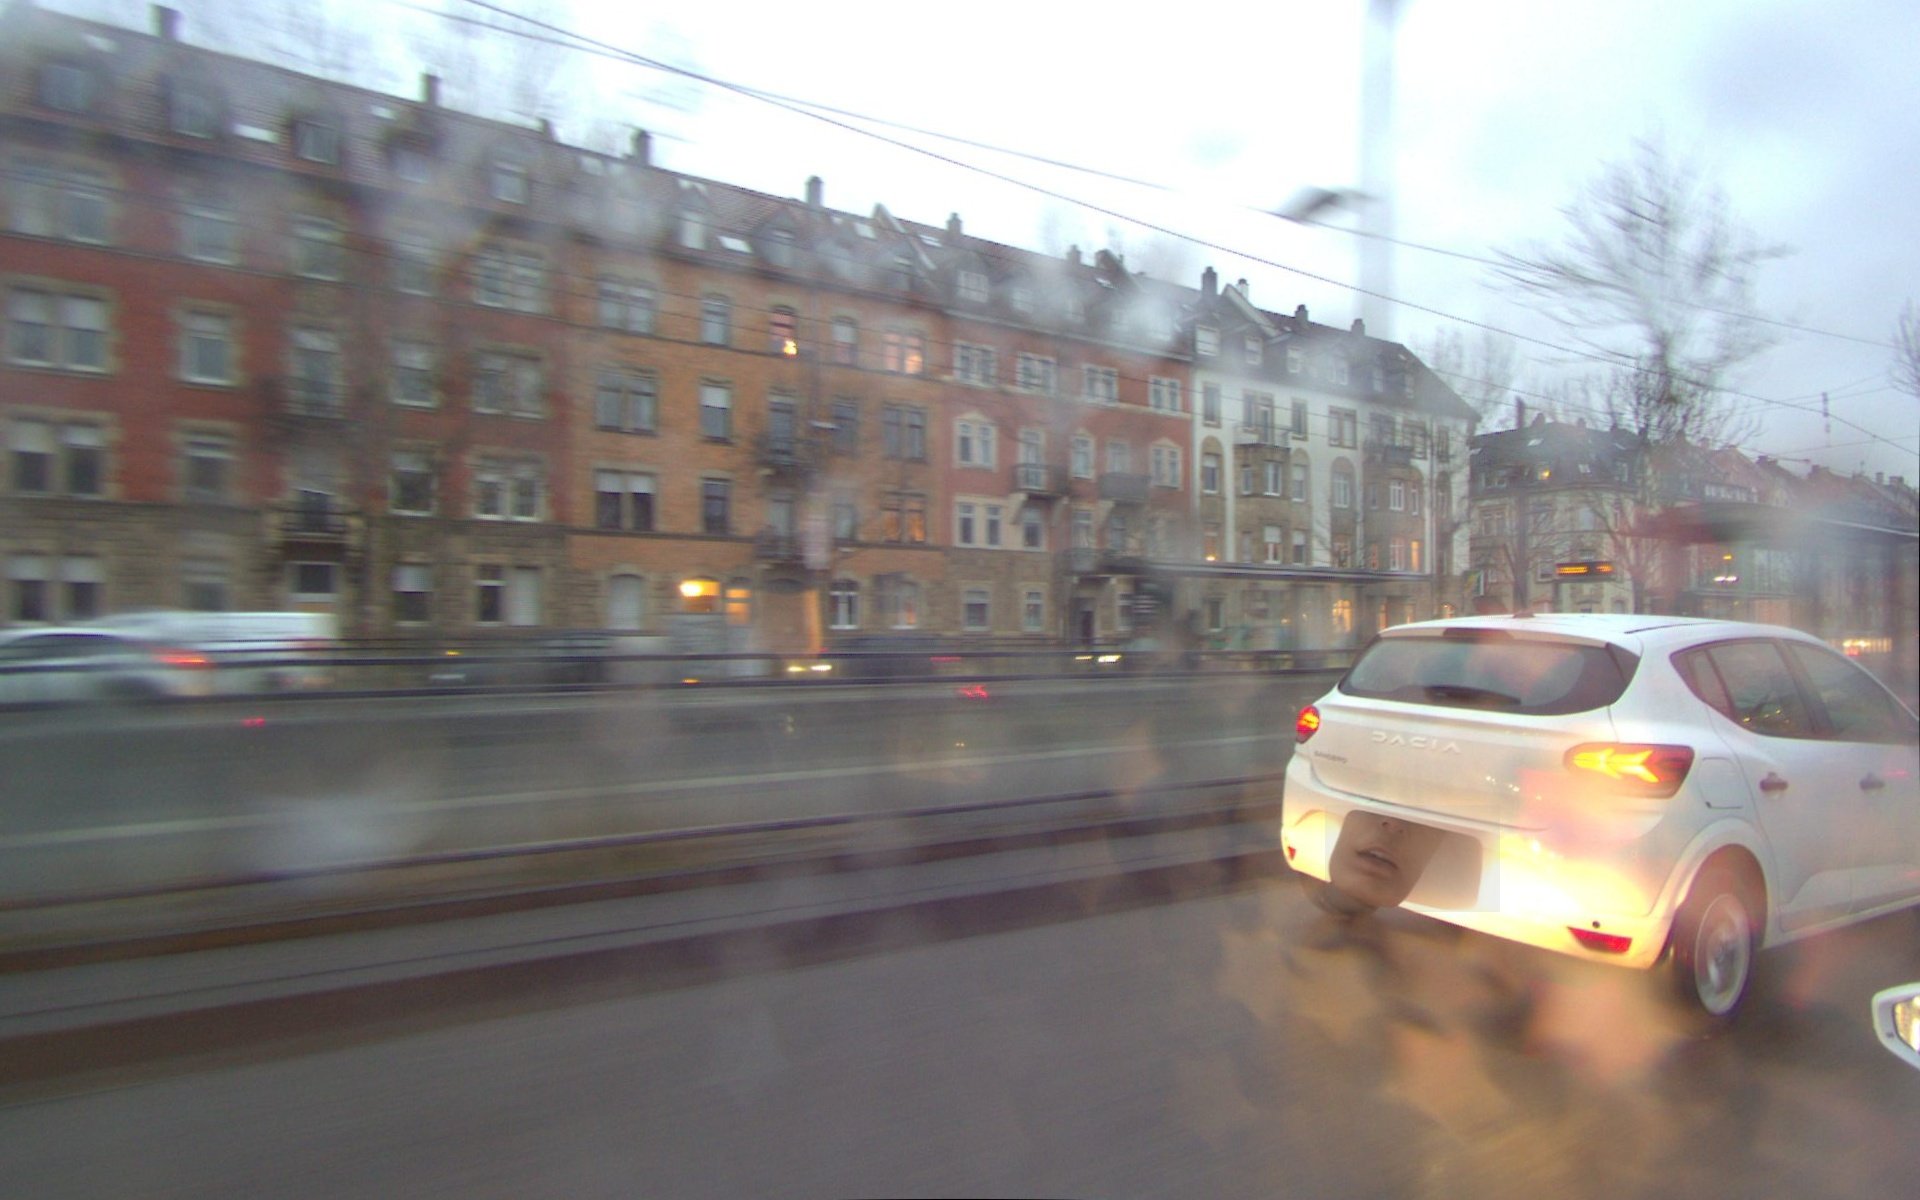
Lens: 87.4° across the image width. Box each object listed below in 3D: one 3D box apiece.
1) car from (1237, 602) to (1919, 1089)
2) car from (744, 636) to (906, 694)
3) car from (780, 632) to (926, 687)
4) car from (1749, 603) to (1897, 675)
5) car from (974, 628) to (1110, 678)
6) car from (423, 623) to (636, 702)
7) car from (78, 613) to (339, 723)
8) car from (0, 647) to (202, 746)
[{"bbox_3d":[3.383,0.791,4.806,3.950,1.506,1.620,0,-2,-29],"label":"car"},{"bbox_3d":[-3.627,1.716,27.157,3.956,1.416,1.802,0,-2,-32],"label":"car"},{"bbox_3d":[-2.563,1.390,24.117,3.159,1.224,1.528,1,-2,-33],"label":"car"},{"bbox_3d":[23.646,1.056,27.493,3.956,1.847,1.983,1,-3,-33],"label":"car"},{"bbox_3d":[2.527,1.575,30.750,3.956,1.415,1.651,0,-2,-32],"label":"car"},{"bbox_3d":[-7.344,1.033,17.179,3.159,1.223,1.528,1,-3,-33],"label":"car"},{"bbox_3d":[-14.619,1.271,19.859,3.897,1.966,1.984,0,-2,-31],"label":"car"},{"bbox_3d":[-13.167,1.327,13.982,4.043,1.262,1.528,1,-2,-33],"label":"car"}]
